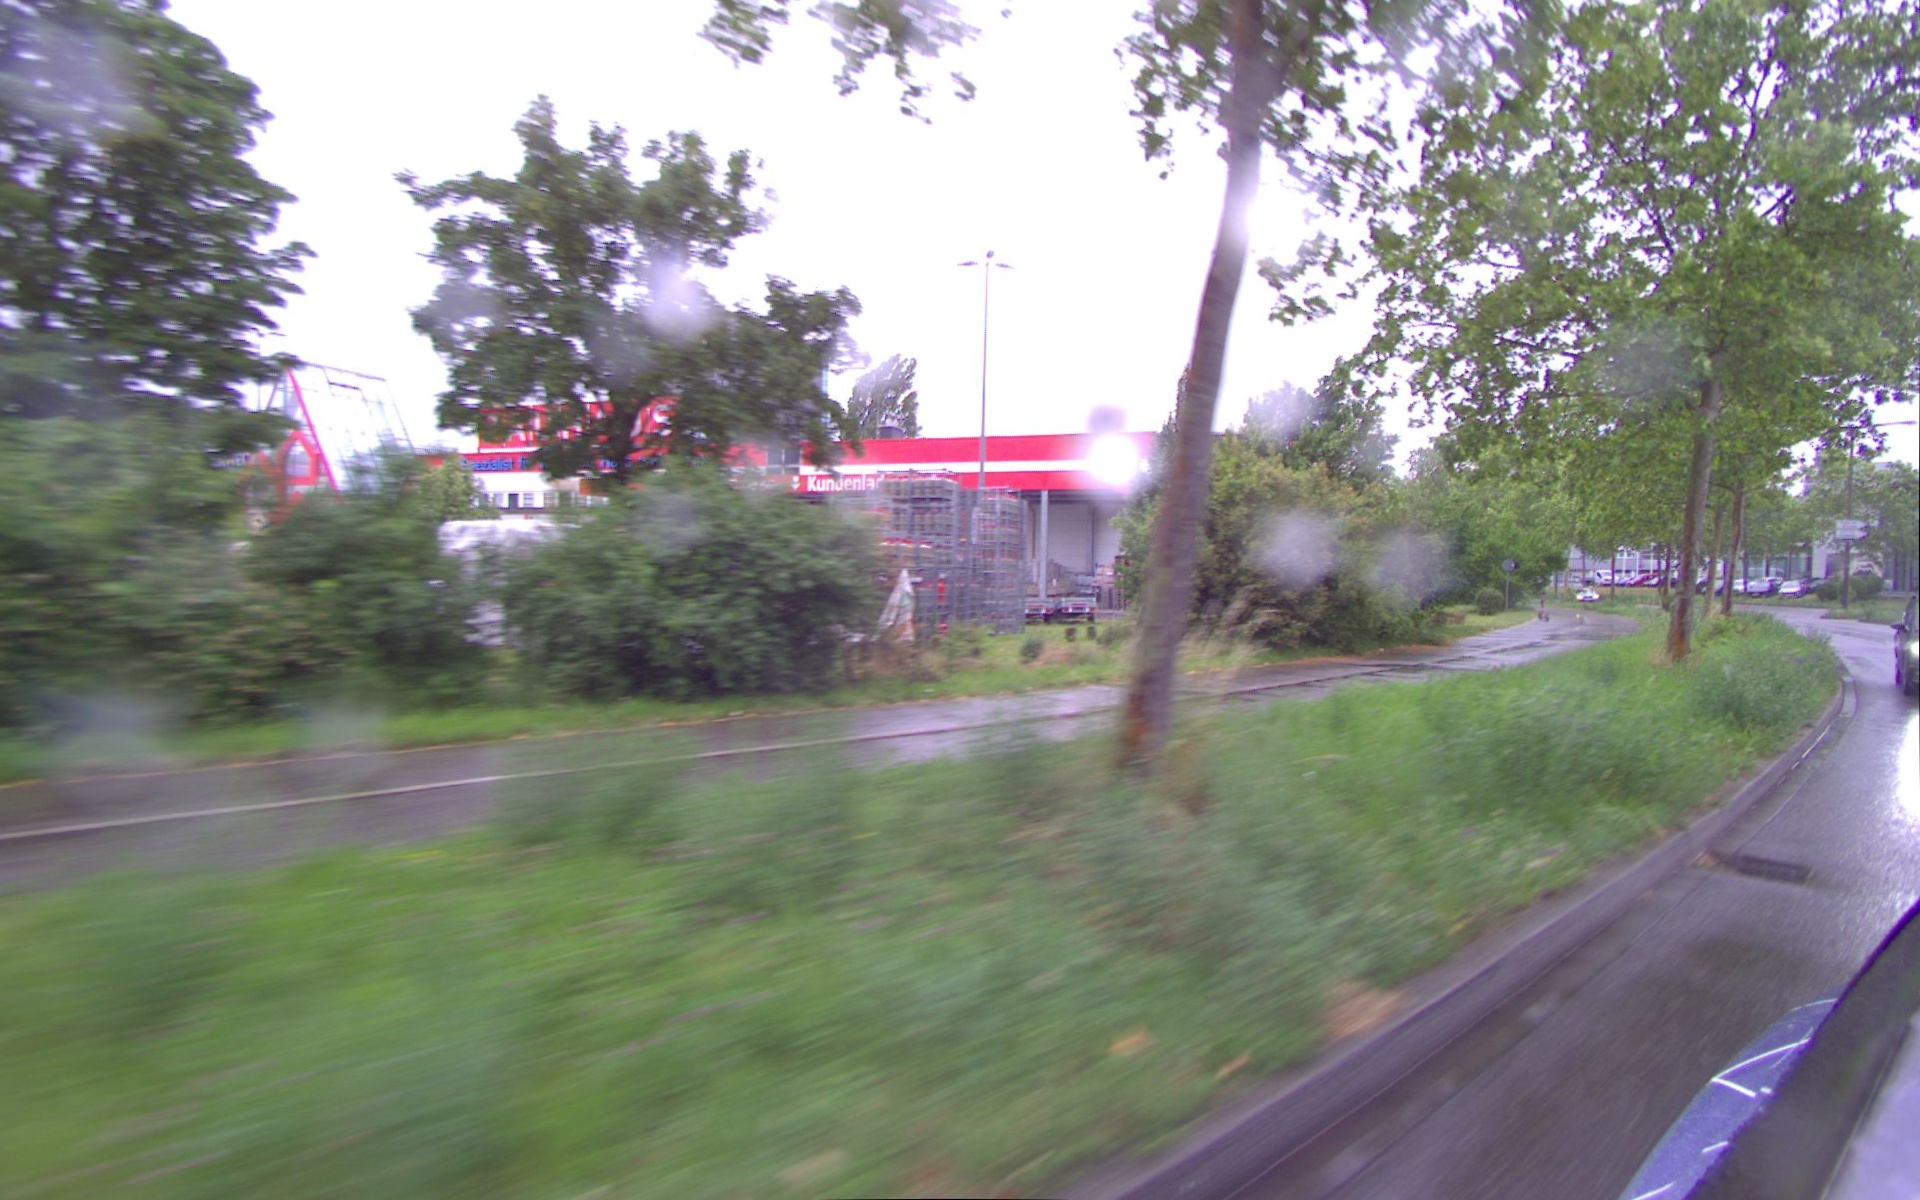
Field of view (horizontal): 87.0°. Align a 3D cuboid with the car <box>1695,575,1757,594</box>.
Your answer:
[{"bbox_3d":[68.004,-1.382,89.907,3.930,1.680,1.862,-1,1,6],"label":"car"}]

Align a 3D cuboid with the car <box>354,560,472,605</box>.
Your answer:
[{"bbox_3d":[-21.383,-0.693,39.708,1.738,1.654,3.810,1,1,27],"label":"car"}]

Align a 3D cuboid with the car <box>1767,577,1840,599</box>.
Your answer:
[{"bbox_3d":[66.126,-0.946,79.378,3.930,1.680,1.862,-1,1,6],"label":"car"}]

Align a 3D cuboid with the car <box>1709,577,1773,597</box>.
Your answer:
[{"bbox_3d":[67.857,-1.143,87.967,3.930,1.680,1.862,-1,1,6],"label":"car"}]

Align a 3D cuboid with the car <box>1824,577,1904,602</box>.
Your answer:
[{"bbox_3d":[64.874,-0.766,72.672,3.930,1.680,1.862,-1,1,6],"label":"car"}]

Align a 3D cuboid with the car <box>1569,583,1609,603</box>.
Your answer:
[{"bbox_3d":[53.879,-0.638,86.718,1.973,1.671,3.978,0,1,18],"label":"car"}]

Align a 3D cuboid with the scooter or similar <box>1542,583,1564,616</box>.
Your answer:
[{"bbox_3d":[23.909,-0.047,40.844,0.445,1.290,1.591,1,1,19],"label":"scooter or similar"}]

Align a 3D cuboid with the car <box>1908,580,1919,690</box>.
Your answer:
[{"bbox_3d":[16.441,0.484,16.165,1.783,1.635,4.645,-1,0,42],"label":"car"}]

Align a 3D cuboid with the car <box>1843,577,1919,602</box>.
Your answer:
[{"bbox_3d":[64.598,-0.724,70.726,3.930,1.680,1.862,-1,1,6],"label":"car"}]

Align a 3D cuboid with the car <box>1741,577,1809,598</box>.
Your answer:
[{"bbox_3d":[67.320,-1.050,83.672,3.930,1.680,1.862,-1,1,6],"label":"car"}]

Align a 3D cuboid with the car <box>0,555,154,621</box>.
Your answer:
[{"bbox_3d":[-25.643,-0.361,29.061,1.730,1.766,3.602,1,1,16],"label":"car"}]

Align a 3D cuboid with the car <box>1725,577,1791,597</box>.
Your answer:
[{"bbox_3d":[67.727,-1.100,85.915,3.930,1.680,1.862,-1,1,6],"label":"car"}]

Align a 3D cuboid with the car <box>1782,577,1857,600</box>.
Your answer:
[{"bbox_3d":[65.489,-0.893,77.182,3.930,1.680,1.862,-1,1,6],"label":"car"}]

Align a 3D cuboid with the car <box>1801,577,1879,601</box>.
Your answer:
[{"bbox_3d":[65.030,-0.811,74.807,3.930,1.680,1.862,-1,1,6],"label":"car"}]
